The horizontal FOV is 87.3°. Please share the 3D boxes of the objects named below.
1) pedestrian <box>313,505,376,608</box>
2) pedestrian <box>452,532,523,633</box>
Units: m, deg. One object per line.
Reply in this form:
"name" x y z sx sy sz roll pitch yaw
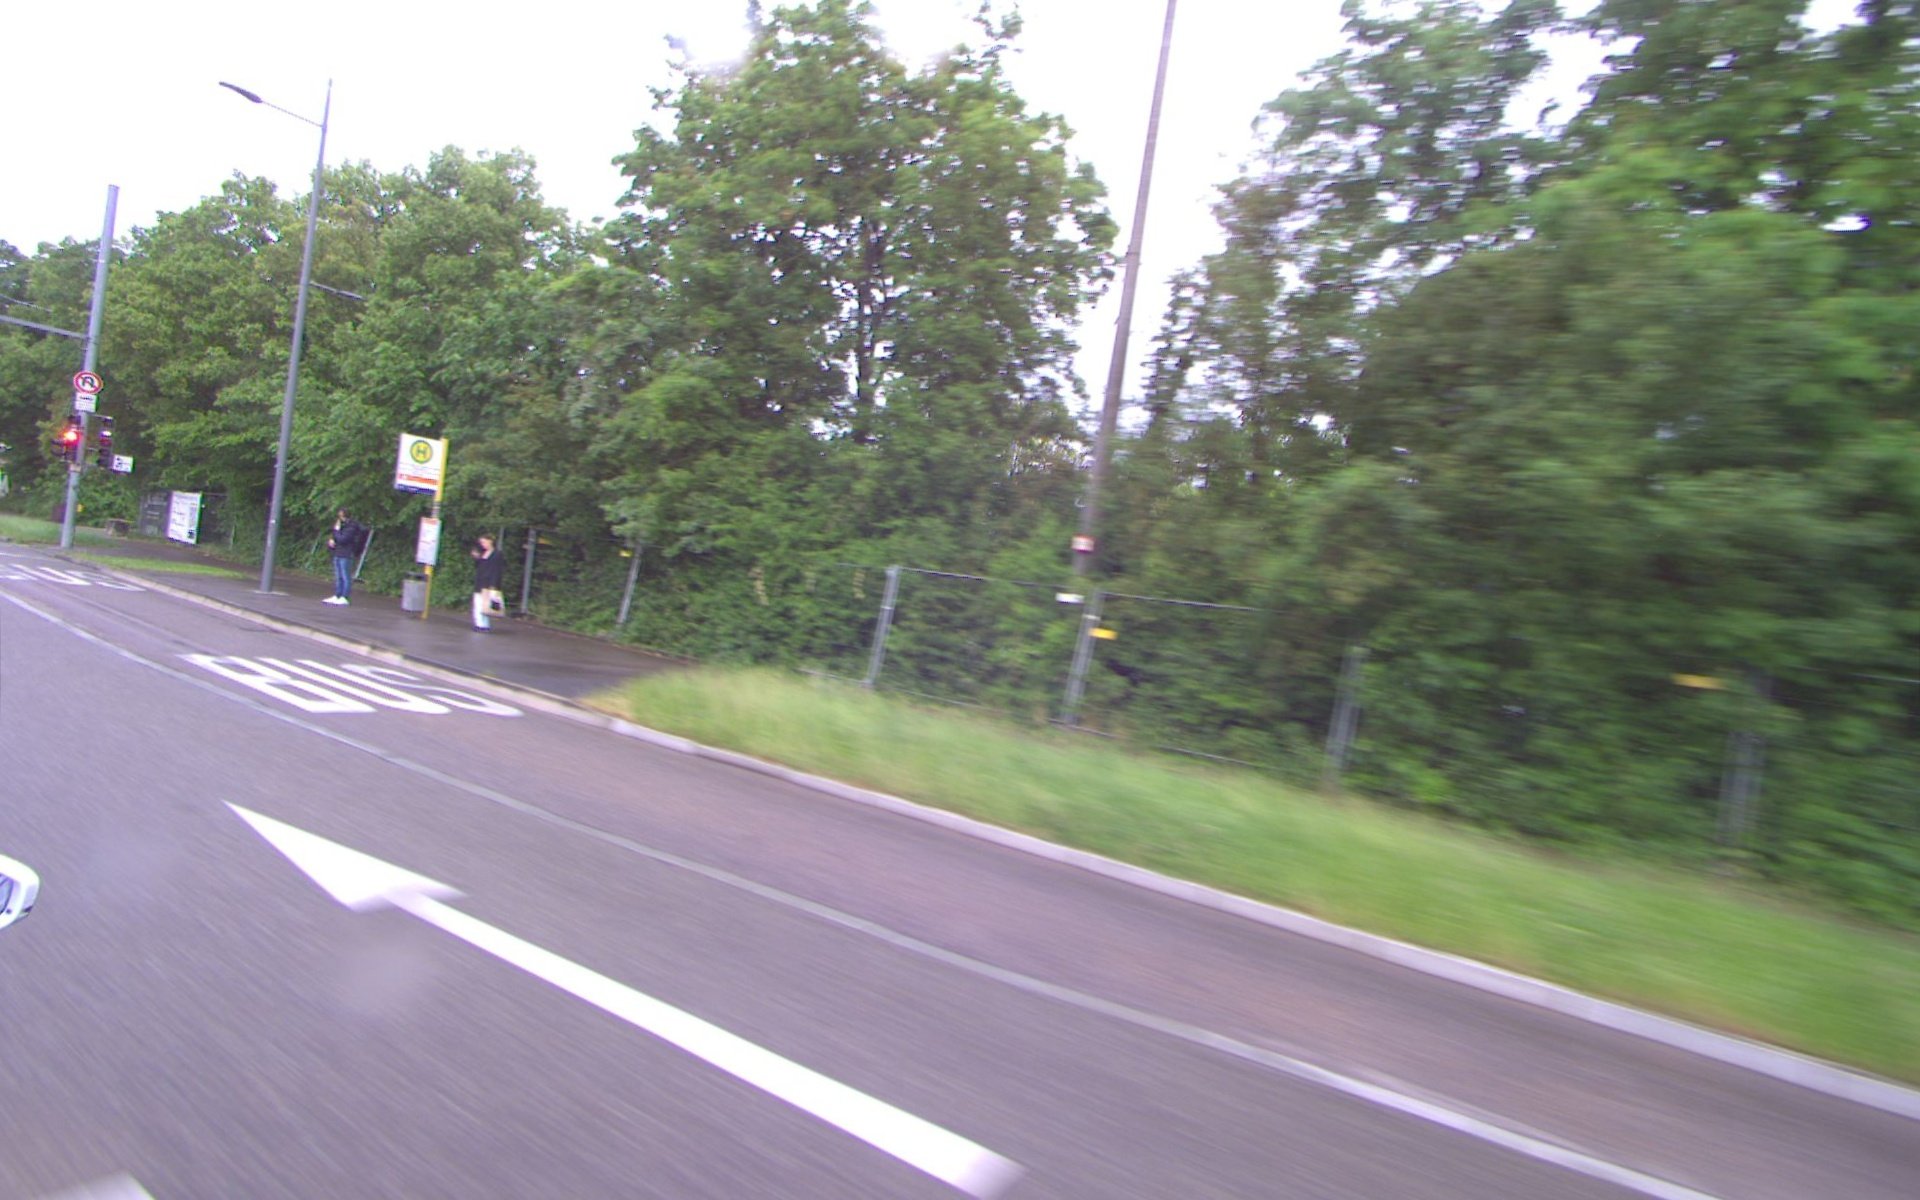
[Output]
"pedestrian" -12.282 -0.865 20.079 0.706 1.924 0.641 8 1 32
"pedestrian" -8.395 -0.302 17.885 0.780 1.678 0.676 8 1 32
